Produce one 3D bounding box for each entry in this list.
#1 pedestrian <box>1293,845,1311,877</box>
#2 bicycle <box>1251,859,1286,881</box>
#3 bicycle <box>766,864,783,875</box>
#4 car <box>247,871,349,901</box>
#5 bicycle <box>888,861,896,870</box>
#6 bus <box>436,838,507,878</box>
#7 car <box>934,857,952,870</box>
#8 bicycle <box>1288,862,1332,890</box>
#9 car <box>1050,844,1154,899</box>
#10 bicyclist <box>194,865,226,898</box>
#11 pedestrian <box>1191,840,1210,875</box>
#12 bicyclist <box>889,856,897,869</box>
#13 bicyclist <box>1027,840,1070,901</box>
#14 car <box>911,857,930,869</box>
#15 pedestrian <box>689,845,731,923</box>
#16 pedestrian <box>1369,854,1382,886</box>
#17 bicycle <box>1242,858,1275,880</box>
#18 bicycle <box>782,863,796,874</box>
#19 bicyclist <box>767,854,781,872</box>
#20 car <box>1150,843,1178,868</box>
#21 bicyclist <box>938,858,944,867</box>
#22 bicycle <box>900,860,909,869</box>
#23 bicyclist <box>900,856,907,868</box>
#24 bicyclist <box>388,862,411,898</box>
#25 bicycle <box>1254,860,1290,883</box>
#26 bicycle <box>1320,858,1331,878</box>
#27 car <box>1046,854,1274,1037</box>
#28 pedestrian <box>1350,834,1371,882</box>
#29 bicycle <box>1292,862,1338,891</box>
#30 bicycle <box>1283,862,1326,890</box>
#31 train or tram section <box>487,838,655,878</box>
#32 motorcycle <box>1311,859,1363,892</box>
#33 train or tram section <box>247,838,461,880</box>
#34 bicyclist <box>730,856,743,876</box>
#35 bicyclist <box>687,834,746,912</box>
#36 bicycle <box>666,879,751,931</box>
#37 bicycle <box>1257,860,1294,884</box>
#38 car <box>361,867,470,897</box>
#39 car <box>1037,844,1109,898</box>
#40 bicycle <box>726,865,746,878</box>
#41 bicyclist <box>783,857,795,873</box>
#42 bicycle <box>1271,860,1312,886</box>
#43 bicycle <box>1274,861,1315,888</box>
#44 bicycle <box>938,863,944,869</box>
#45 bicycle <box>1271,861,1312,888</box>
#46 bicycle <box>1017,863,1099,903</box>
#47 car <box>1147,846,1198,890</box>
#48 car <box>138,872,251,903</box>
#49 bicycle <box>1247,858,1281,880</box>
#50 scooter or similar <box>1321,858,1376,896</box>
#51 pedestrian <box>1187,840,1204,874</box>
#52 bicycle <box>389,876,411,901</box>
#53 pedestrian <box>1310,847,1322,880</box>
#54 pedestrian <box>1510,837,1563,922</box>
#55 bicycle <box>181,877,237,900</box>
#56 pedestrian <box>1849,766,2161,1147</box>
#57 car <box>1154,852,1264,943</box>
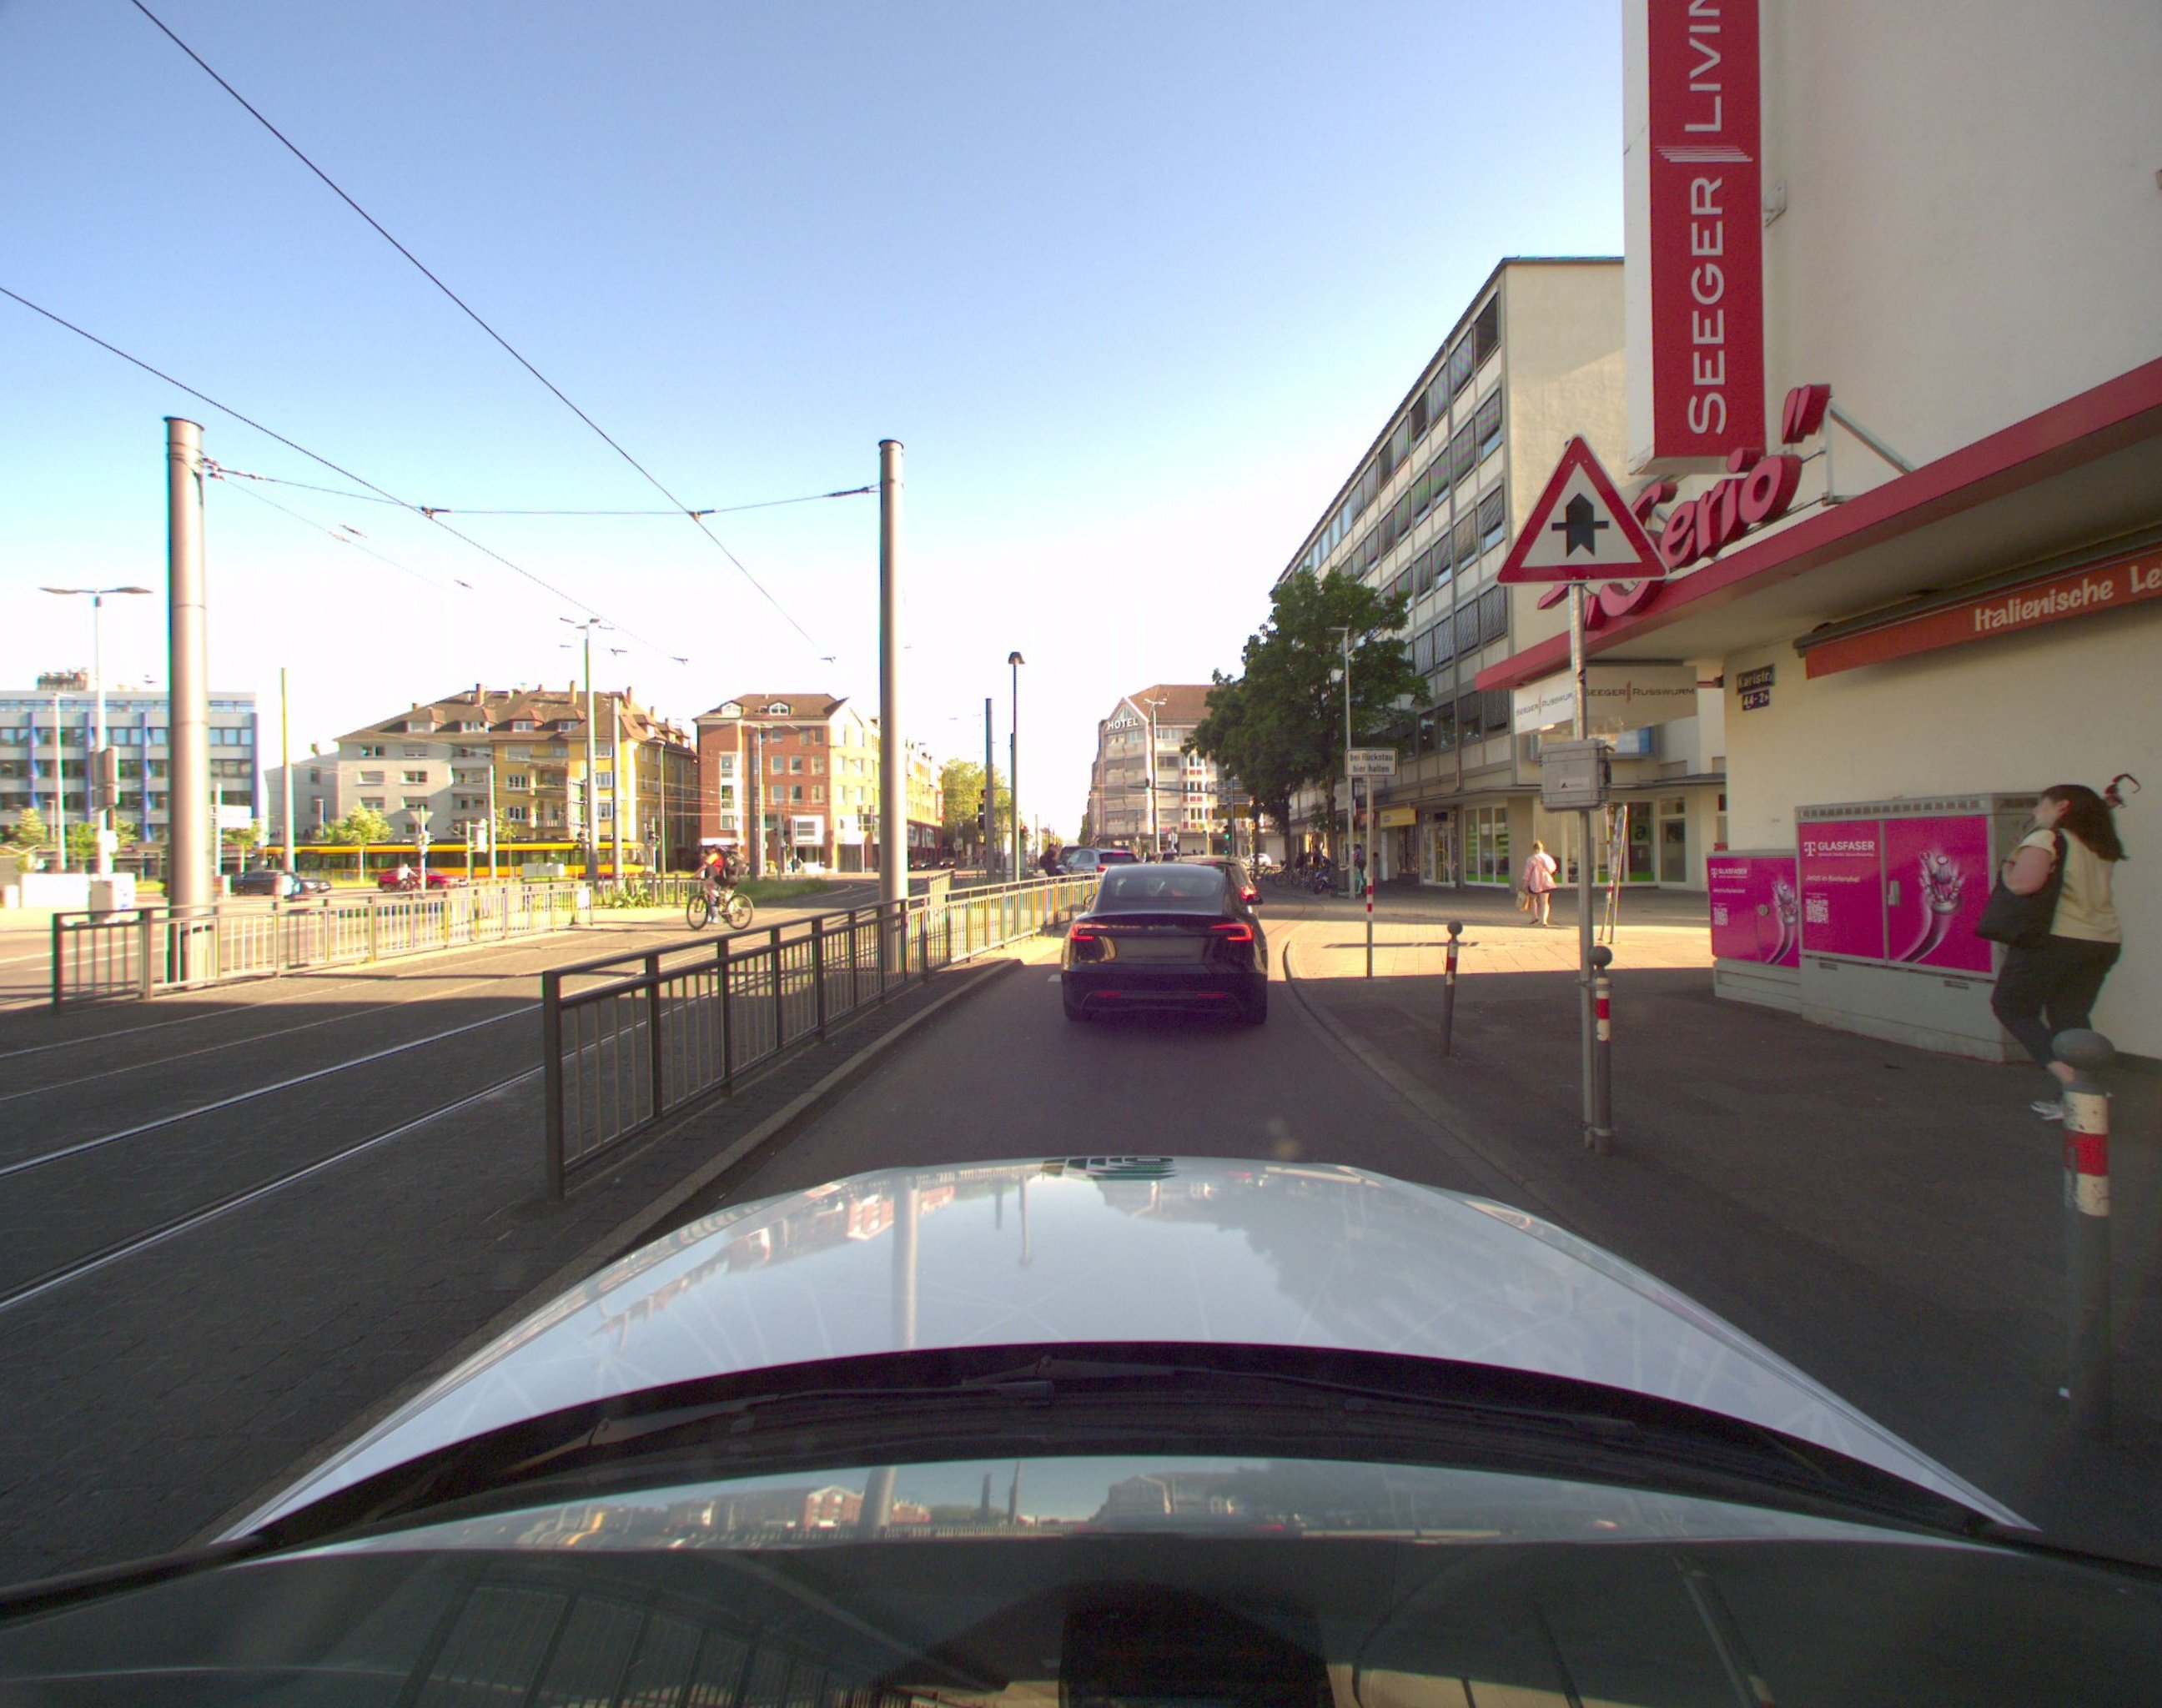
[{"bbox_3d":[11.548,0.379,42.575,0.697,1.662,0.777,0,-1,1],"label":"pedestrian"},{"bbox_3d":[9.280,0.796,40.276,1.643,1.099,0.350,0,-1,3],"label":"bicycle"},{"bbox_3d":[-25.795,1.292,68.555,0.522,0.972,2.247,0,-1,2],"label":"bicycle"},{"bbox_3d":[-45.495,1.836,47.398,3.984,1.672,1.772,0,-1,-8],"label":"car"},{"bbox_3d":[-22.727,1.411,97.880,0.535,1.088,2.224,0,-1,0],"label":"bicycle"},{"bbox_3d":[-48.378,0.334,64.739,3.513,3.131,2.764,0,-1,-7],"label":"bus"},{"bbox_3d":[-18.041,1.239,106.609,1.692,1.731,3.706,0,-1,0],"label":"car"},{"bbox_3d":[8.817,0.843,31.387,1.649,1.061,0.349,0,-1,-9],"label":"bicycle"},{"bbox_3d":[0.595,0.540,26.720,1.891,1.662,4.126,0,-1,-23],"label":"car"},{"bbox_3d":[-48.185,1.503,45.041,0.901,1.808,0.788,0,-1,-11],"label":"bicyclist"},{"bbox_3d":[6.889,0.203,46.967,0.917,2.014,0.973,0,-1,1],"label":"pedestrian"},{"bbox_3d":[-22.744,1.022,98.474,0.781,1.563,0.746,0,-1,0],"label":"bicyclist"},{"bbox_3d":[-0.891,0.448,22.392,0.763,1.628,0.967,0,-1,-37],"label":"bicyclist"},{"bbox_3d":[-20.382,1.134,103.384,1.706,1.527,4.032,0,-1,-3],"label":"car"},{"bbox_3d":[-8.132,0.645,17.879,0.589,1.681,0.773,0,-1,-3],"label":"pedestrian"},{"bbox_3d":[12.312,0.667,34.022,0.388,1.343,0.513,0,-1,4],"label":"pedestrian"},{"bbox_3d":[9.244,0.789,42.418,1.643,1.099,0.350,0,-1,3],"label":"bicycle"},{"bbox_3d":[-26.845,1.355,74.953,0.402,0.981,1.699,-1,-1,10],"label":"bicycle"},{"bbox_3d":[-25.806,0.775,68.525,0.895,1.503,0.696,0,-1,1],"label":"bicyclist"},{"bbox_3d":[5.858,0.129,58.068,1.713,1.751,3.755,0,-1,2],"label":"car"},{"bbox_3d":[-23.167,1.377,134.973,0.780,1.563,0.747,0,-1,3],"label":"bicyclist"},{"bbox_3d":[-22.486,1.359,103.940,0.527,1.088,2.286,-1,-1,4],"label":"bicycle"},{"bbox_3d":[-22.535,1.025,103.397,0.780,1.563,0.747,-1,0,3],"label":"bicyclist"},{"bbox_3d":[-33.953,1.284,40.593,0.743,1.759,0.763,-1,-1,40],"label":"bicyclist"},{"bbox_3d":[9.205,0.839,39.263,1.643,1.099,0.350,0,-1,3],"label":"bicycle"},{"bbox_3d":[12.772,0.726,42.590,0.330,1.034,1.258,0,-1,6],"label":"bicycle"},{"bbox_3d":[0.866,0.747,8.561,1.820,1.455,4.007,0,-1,7],"label":"car"},{"bbox_3d":[11.776,0.180,34.323,0.659,2.014,0.580,0,-1,4],"label":"pedestrian"},{"bbox_3d":[8.895,0.858,30.963,1.649,1.099,0.349,0,-1,-9],"label":"bicycle"},{"bbox_3d":[8.731,0.858,31.813,1.649,1.099,0.349,0,-1,-9],"label":"bicycle"},{"bbox_3d":[-41.031,0.288,65.926,11.233,3.131,2.795,0,-1,-11],"label":"train or tram section"},{"bbox_3d":[9.144,0.767,29.150,1.701,1.173,0.541,0,-1,0],"label":"motorcycle"},{"bbox_3d":[-56.903,0.392,64.035,13.646,3.131,2.730,0,-1,-4],"label":"train or tram section"},{"bbox_3d":[-26.096,0.915,61.655,0.631,1.503,0.696,0,-1,1],"label":"bicyclist"},{"bbox_3d":[-7.226,0.369,16.150,1.033,1.521,0.393,-1,-1,11],"label":"bicyclist"},{"bbox_3d":[-7.393,1.000,16.164,1.587,0.994,0.405,-1,-1,10],"label":"bicycle"},{"bbox_3d":[9.140,0.835,38.237,1.643,1.099,0.350,0,-1,3],"label":"bicycle"},{"bbox_3d":[-39.458,1.651,48.393,4.585,1.700,1.993,0,-1,-10],"label":"car"},{"bbox_3d":[-0.398,0.666,32.737,1.997,2.014,3.980,-1,0,-15],"label":"car"},{"bbox_3d":[-26.102,1.326,61.655,0.445,0.972,2.247,0,-1,2],"label":"bicycle"},{"bbox_3d":[-26.875,1.001,74.973,0.699,1.471,0.975,-1,0,9],"label":"bicyclist"},{"bbox_3d":[9.118,0.817,35.283,1.643,1.099,0.350,0,-1,3],"label":"bicycle"},{"bbox_3d":[8.927,0.846,34.101,1.649,1.099,0.349,0,-1,-9],"label":"bicycle"},{"bbox_3d":[-23.181,1.987,135.038,0.527,1.088,2.227,0,-1,4],"label":"bicycle"},{"bbox_3d":[8.617,0.846,33.345,1.649,1.099,0.349,0,-1,-9],"label":"bicycle"},{"bbox_3d":[-0.612,0.789,22.615,2.346,1.053,0.624,0,-1,-36],"label":"bicycle"},{"bbox_3d":[3.917,0.602,35.461,1.594,1.778,3.977,0,-1,-3],"label":"car"},{"bbox_3d":[-50.624,1.875,46.580,3.952,1.685,1.903,0,-1,-11],"label":"car"},{"bbox_3d":[9.262,0.759,41.323,1.643,1.099,0.350,-1,0,3],"label":"bicycle"},{"bbox_3d":[8.899,0.762,27.124,1.625,1.215,0.649,-1,-1,32],"label":"scooter or similar"},{"bbox_3d":[6.968,0.192,49.661,0.917,2.014,0.973,0,-1,1],"label":"pedestrian"},{"bbox_3d":[-33.876,1.711,40.498,1.831,1.222,0.488,-1,-1,40],"label":"bicycle"},{"bbox_3d":[12.347,0.489,42.819,0.523,1.710,0.404,0,-1,5],"label":"pedestrian"},{"bbox_3d":[9.270,0.512,16.606,0.881,1.667,0.813,-1,-1,25],"label":"pedestrian"},{"bbox_3d":[-48.201,1.905,45.042,2.188,1.214,0.544,0,-1,-11],"label":"bicycle"},{"bbox_3d":[5.007,0.469,4.292,0.911,1.752,1.038,-1,0,0],"label":"pedestrian"},{"bbox_3d":[2.345,0.693,15.116,1.741,1.454,4.009,-1,0,8],"label":"car"}]
